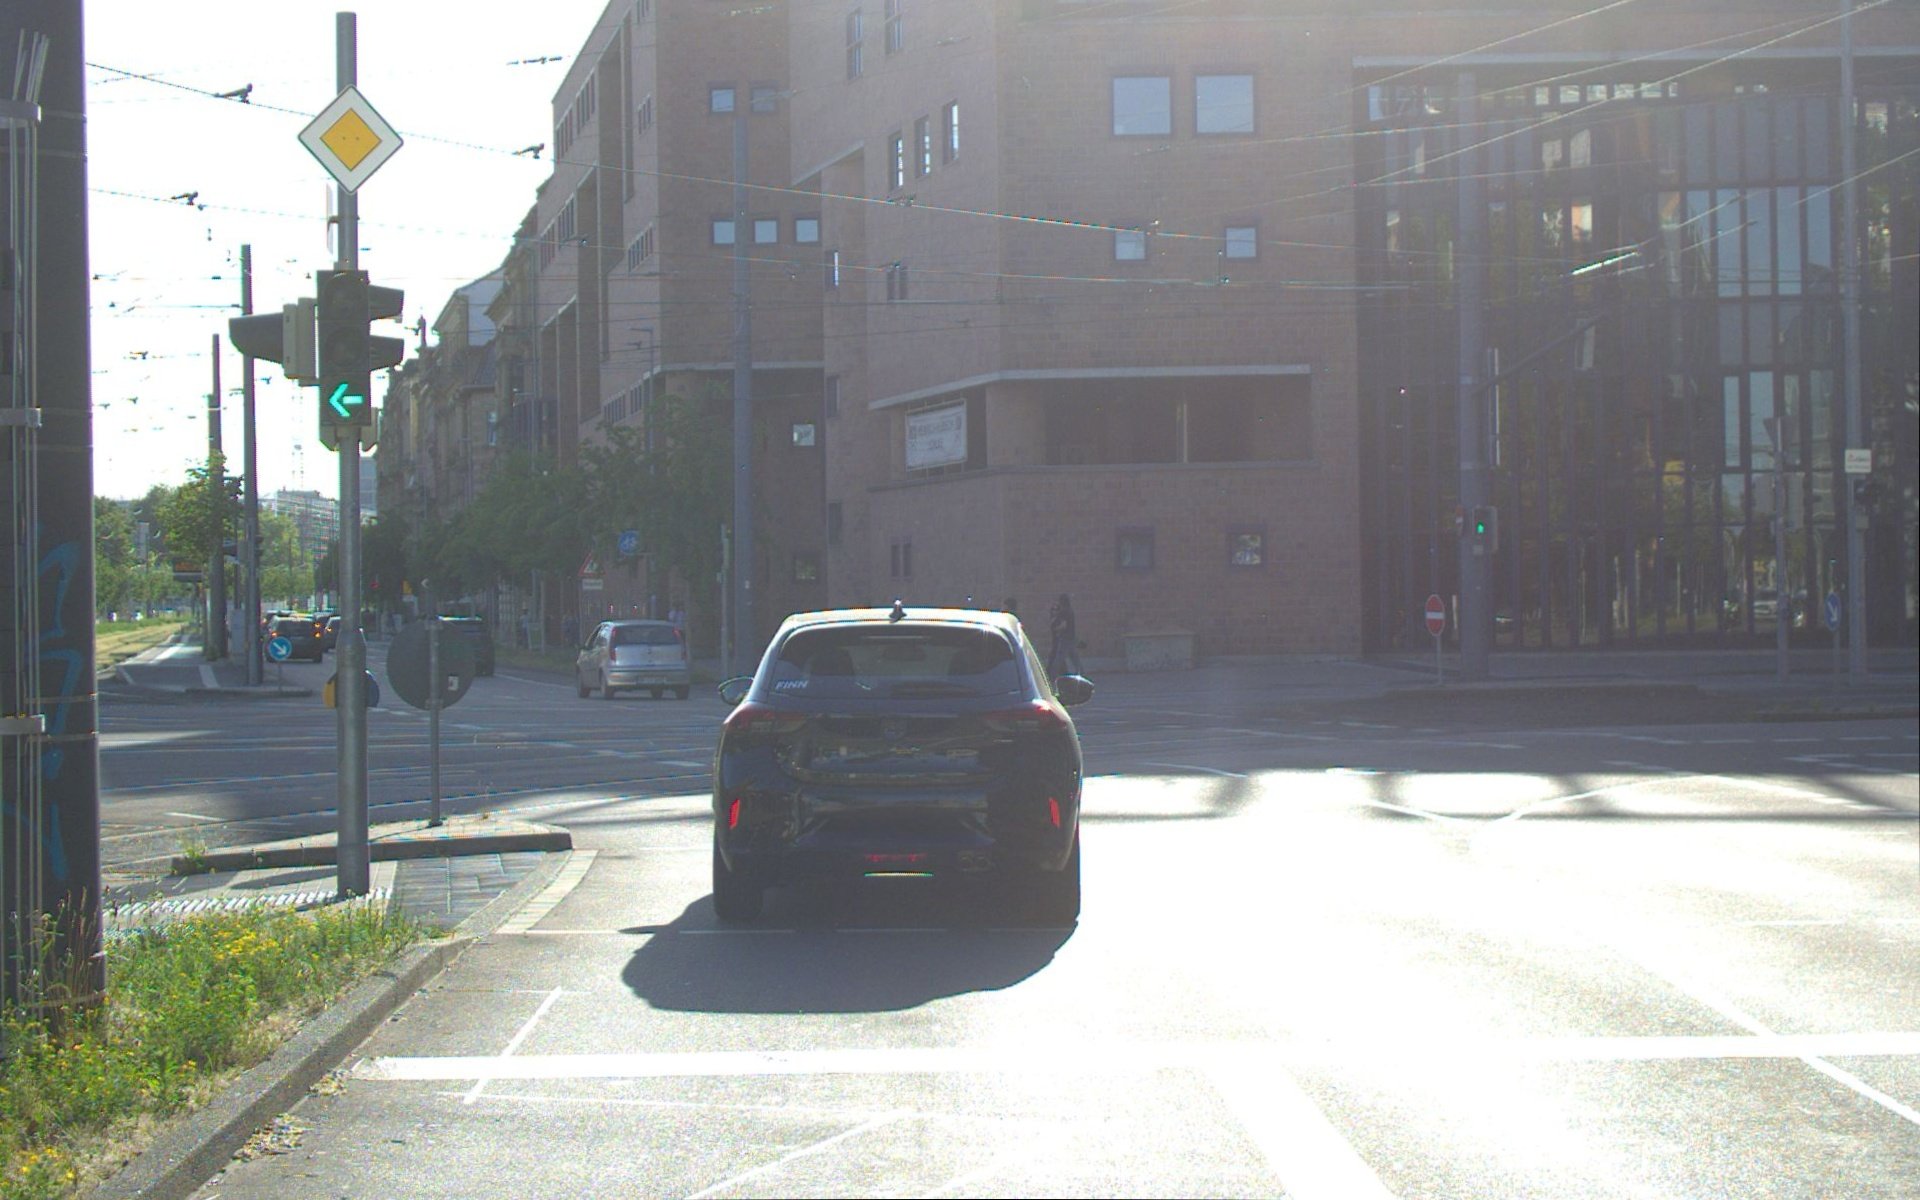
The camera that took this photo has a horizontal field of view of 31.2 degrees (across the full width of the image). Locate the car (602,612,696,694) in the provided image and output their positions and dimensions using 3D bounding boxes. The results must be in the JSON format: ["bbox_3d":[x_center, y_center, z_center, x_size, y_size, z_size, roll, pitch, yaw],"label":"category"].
[{"bbox_3d":[-5.797,0.963,63.872,1.559,1.451,3.432,-1,0,-8],"label":"car"}]

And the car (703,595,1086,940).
[{"bbox_3d":[-0.305,0.736,16.967,1.672,1.496,3.690,1,0,-1],"label":"car"}]

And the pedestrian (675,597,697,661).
[{"bbox_3d":[-7.834,0.831,98.283,0.547,1.780,0.573,-1,3,-8],"label":"pedestrian"}]

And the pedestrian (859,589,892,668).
[{"bbox_3d":[-1.940,0.649,78.891,0.640,1.780,0.688,-2,0,-8],"label":"pedestrian"}]

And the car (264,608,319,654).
[{"bbox_3d":[-22.281,1.013,114.568,1.720,1.448,3.698,-2,0,-11],"label":"car"}]

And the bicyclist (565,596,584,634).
[{"bbox_3d":[-13.755,0.534,122.672,0.645,1.335,0.653,-1,0,-10],"label":"bicyclist"}]

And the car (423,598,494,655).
[{"bbox_3d":[-13.590,0.702,93.079,1.670,1.448,3.698,-2,0,-11],"label":"car"}]

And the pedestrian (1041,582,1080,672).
[{"bbox_3d":[2.010,0.546,68.888,0.571,1.780,0.549,-2,0,-19],"label":"pedestrian"}]

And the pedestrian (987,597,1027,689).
[{"bbox_3d":[0.915,0.836,67.018,0.571,1.780,0.549,-2,0,-19],"label":"pedestrian"}]

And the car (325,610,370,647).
[{"bbox_3d":[-25.150,1.150,141.083,1.720,1.448,3.698,-2,0,-11],"label":"car"}]

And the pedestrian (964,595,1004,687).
[{"bbox_3d":[0.468,0.801,67.567,0.571,1.780,0.549,-2,0,-19],"label":"pedestrian"}]

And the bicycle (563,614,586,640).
[{"bbox_3d":[-13.772,0.958,122.797,0.648,0.901,2.346,-1,0,-10],"label":"bicycle"}]

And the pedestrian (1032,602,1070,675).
[{"bbox_3d":[1.848,0.784,70.037,0.547,1.472,0.573,-1,1,-29],"label":"pedestrian"}]
